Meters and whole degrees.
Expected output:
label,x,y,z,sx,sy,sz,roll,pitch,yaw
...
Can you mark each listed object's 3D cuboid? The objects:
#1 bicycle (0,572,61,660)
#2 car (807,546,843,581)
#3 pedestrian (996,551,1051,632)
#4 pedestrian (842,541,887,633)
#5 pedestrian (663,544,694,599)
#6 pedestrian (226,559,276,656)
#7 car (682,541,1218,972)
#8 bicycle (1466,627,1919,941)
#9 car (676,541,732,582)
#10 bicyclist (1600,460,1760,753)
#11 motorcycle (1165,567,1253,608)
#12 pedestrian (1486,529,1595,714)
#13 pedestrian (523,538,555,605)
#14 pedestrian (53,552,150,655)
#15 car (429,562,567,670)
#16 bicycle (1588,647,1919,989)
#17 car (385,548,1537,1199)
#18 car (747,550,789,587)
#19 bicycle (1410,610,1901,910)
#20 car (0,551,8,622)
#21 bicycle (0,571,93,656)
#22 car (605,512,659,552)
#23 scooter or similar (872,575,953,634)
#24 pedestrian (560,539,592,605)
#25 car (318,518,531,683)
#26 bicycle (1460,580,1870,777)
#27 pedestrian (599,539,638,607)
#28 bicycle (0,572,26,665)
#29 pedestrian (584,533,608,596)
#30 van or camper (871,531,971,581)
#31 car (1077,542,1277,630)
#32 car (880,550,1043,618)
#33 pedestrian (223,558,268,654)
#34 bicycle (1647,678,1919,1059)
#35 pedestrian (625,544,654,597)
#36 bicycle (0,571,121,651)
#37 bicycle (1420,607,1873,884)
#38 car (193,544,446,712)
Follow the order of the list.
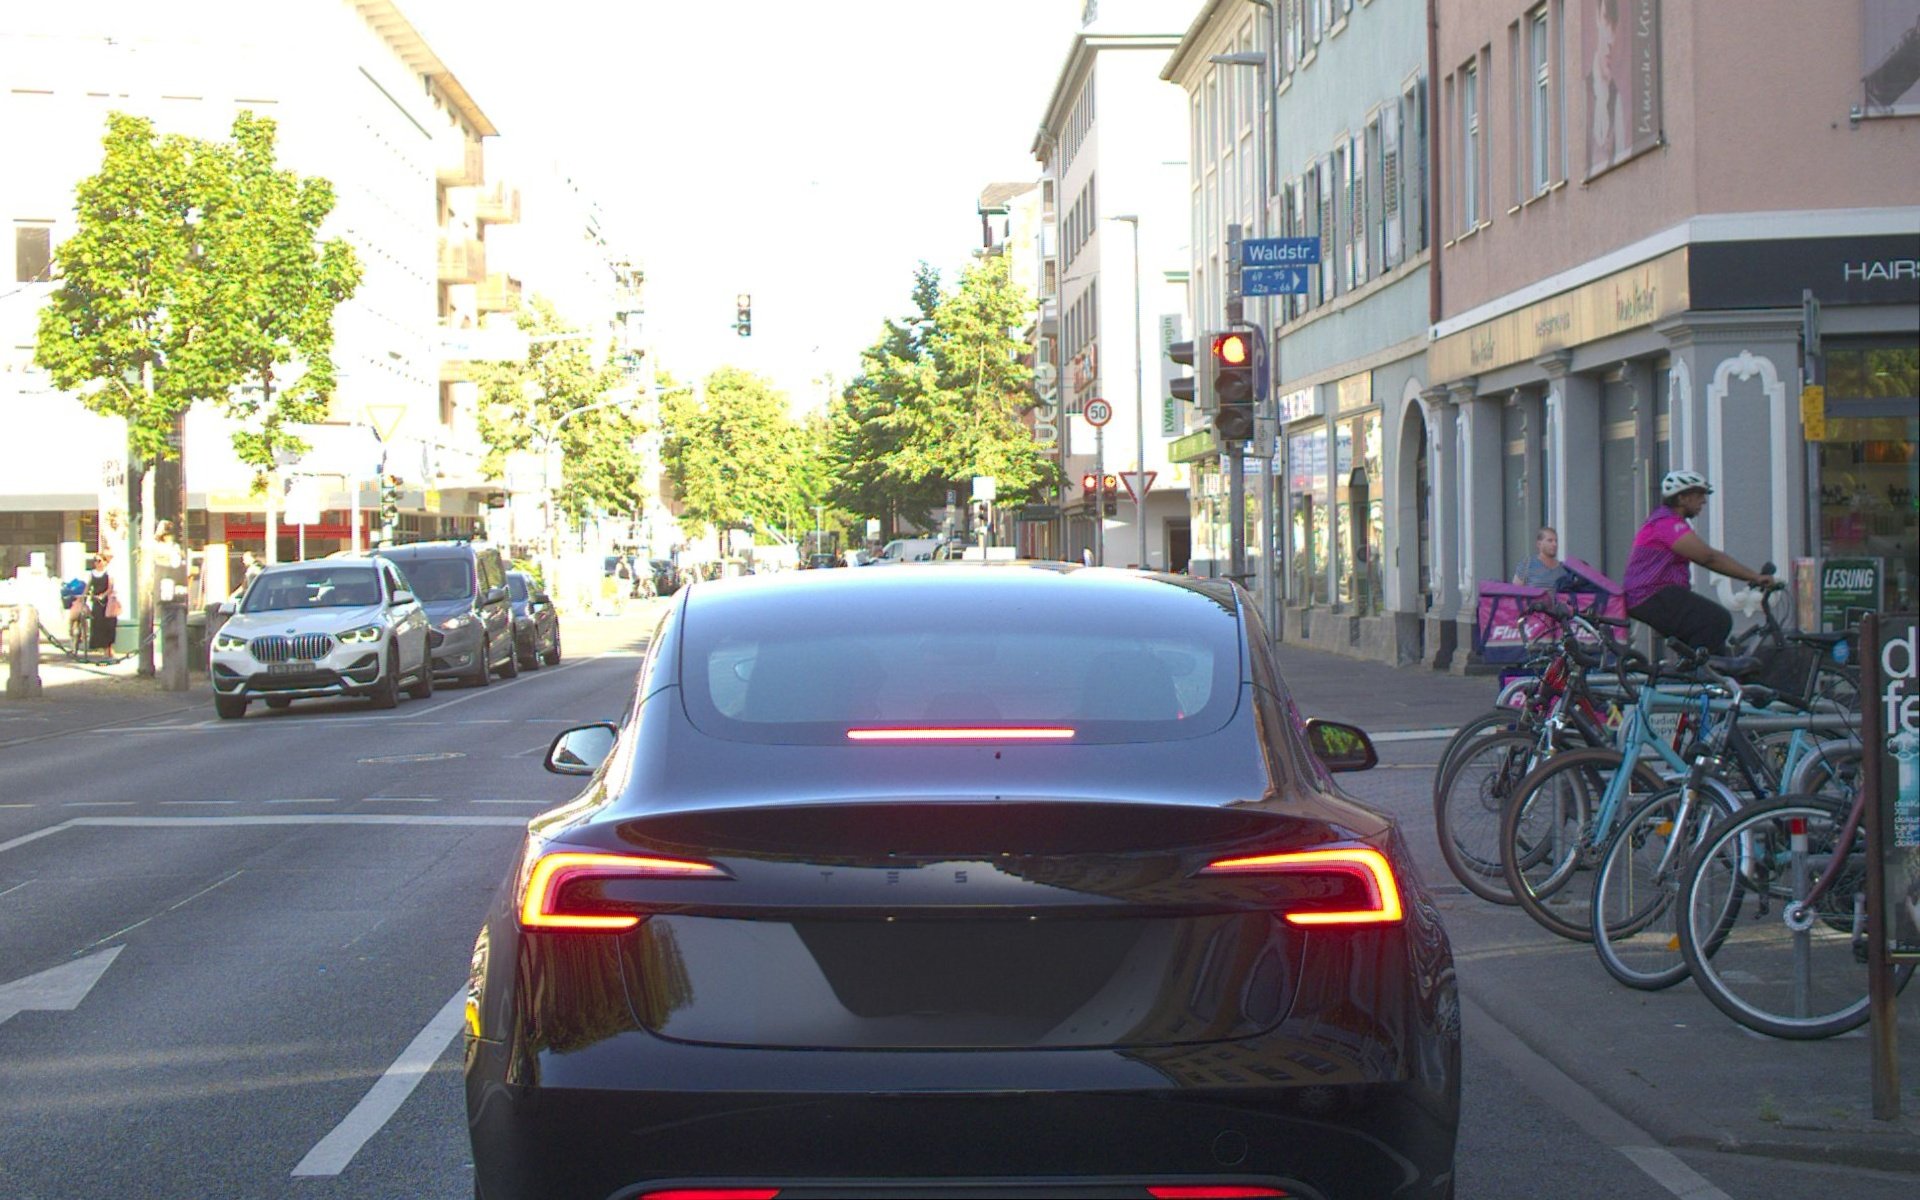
label,x,y,z,sx,sy,sz,roll,pitch,yaw
bicycle,-14.490,0.219,49.880,2.662,1.255,0.943,1,0,-3
car,-7.304,-1.975,185.794,1.892,1.807,3.925,1,1,-2
pedestrian,1.267,-0.173,68.885,0.806,1.604,0.709,0,1,-37
pedestrian,-1.836,-0.246,66.011,0.658,1.754,0.654,1,0,-24
pedestrian,-9.578,-0.979,116.948,0.774,1.861,1.009,1,0,-22
pedestrian,-12.934,0.127,62.675,0.844,1.754,0.707,1,0,-14
car,-0.061,0.523,14.213,1.850,1.476,4.452,1,1,-1
bicycle,2.799,0.656,12.543,1.813,1.098,0.653,0,1,1
car,-12.397,-1.869,166.466,2.414,1.963,4.678,0,1,-1
bicyclist,4.411,0.041,21.115,0.864,1.749,0.681,-2,-1,8
motorcycle,6.491,-0.324,89.551,2.379,1.032,0.783,0,1,-40
pedestrian,4.927,0.179,29.222,0.789,1.544,0.724,1,0,0
pedestrian,-11.873,-0.810,96.950,0.732,1.861,0.791,1,0,-17
pedestrian,-13.685,0.052,54.847,1.093,1.606,1.266,1,0,8
car,-6.656,0.206,49.811,1.461,1.425,3.606,-4,1,-1
bicycle,2.999,0.691,11.136,1.813,1.056,0.653,0,1,1
car,-0.025,0.628,7.788,1.850,1.442,4.452,1,1,-1
car,-10.445,-1.740,187.149,2.132,1.963,4.134,0,1,-1
bicycle,2.730,0.619,13.617,1.813,1.148,0.653,0,1,1
car,-22.636,-0.296,73.776,4.119,1.525,1.552,0,1,-21
bicycle,-14.535,0.192,52.155,2.542,1.247,0.943,1,0,-3
car,-17.128,-3.535,179.656,2.275,2.007,4.717,1,1,1
scooter or similar,-0.926,0.087,66.443,1.333,1.131,0.810,1,0,-24
pedestrian,-10.840,-0.797,97.101,0.732,1.861,0.791,1,0,-17
car,-6.574,-0.035,42.678,1.945,1.940,4.820,0,1,-1
bicycle,4.303,0.475,21.136,2.390,1.147,0.712,-1,0,6
pedestrian,-9.388,-0.752,94.590,0.734,1.861,0.789,1,0,28
bicycle,-14.488,0.237,47.561,2.875,1.266,0.943,1,0,-3
pedestrian,-10.998,-1.073,103.893,0.695,1.861,0.659,1,0,-5
van or camper,-1.903,-2.134,167.563,4.850,2.430,1.851,0,1,-1
car,4.707,-0.325,74.690,3.992,1.861,1.698,0,1,-21
car,0.031,-0.448,93.218,4.001,1.782,2.038,1,1,36
pedestrian,-13.154,0.113,63.304,0.658,1.754,0.654,1,0,-26
bicycle,3.025,0.758,10.065,1.882,1.040,0.653,-1,1,1
pedestrian,-11.148,-1.028,119.653,0.695,1.861,0.910,1,0,-26
bicycle,-14.696,0.165,54.579,2.542,1.247,0.943,1,0,-3
bicycle,2.921,0.611,14.751,1.813,1.148,0.653,0,1,1
car,-6.689,0.255,36.355,1.825,1.559,4.301,-4,1,-1
